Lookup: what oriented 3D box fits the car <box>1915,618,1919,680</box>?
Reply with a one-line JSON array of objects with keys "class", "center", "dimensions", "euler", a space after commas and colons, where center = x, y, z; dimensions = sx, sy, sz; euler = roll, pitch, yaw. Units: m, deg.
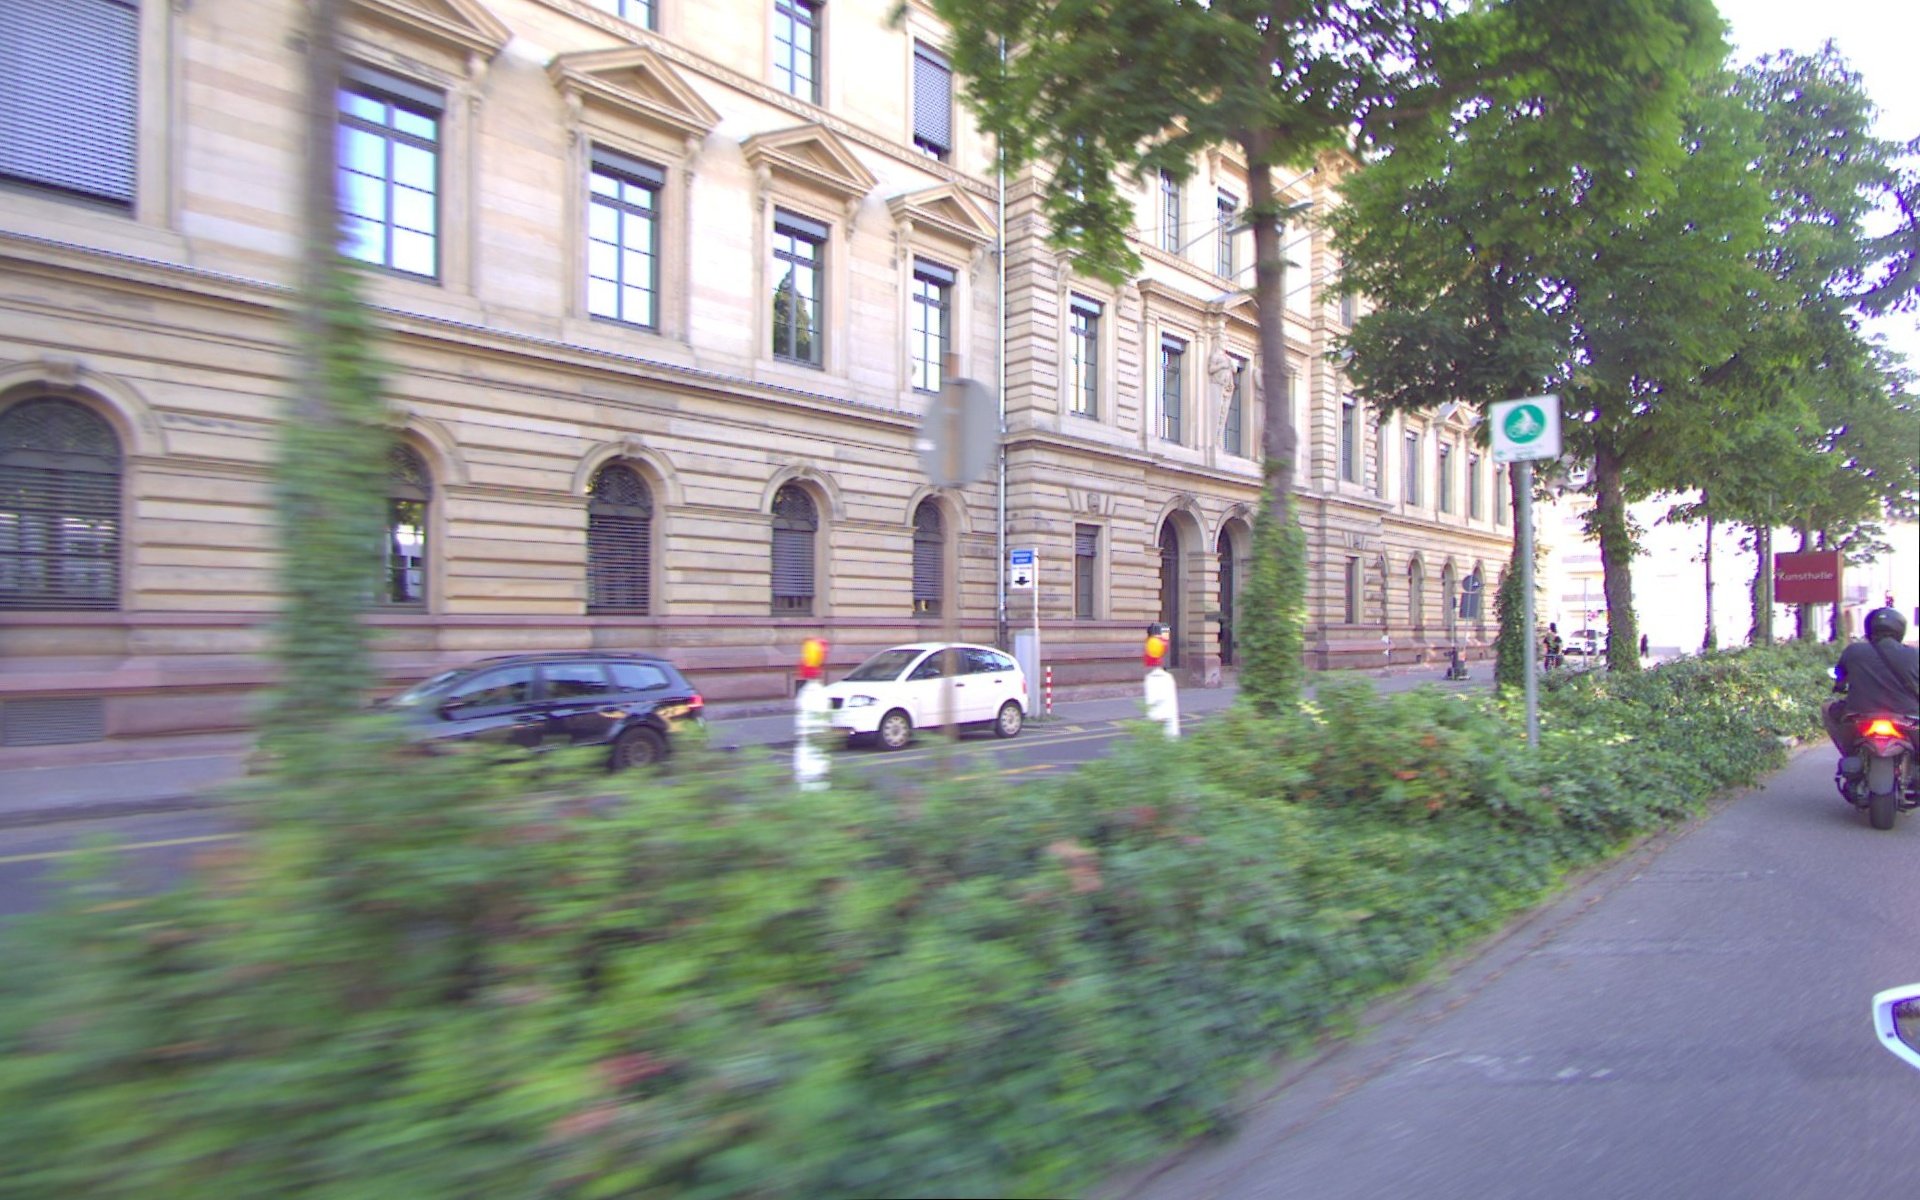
[{"class": "car", "center": [32.307, 1.570, 32.331], "dimensions": [4.999, 1.940, 2.048], "euler": [2, -3, -44]}]

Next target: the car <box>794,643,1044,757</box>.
[{"class": "car", "center": [-0.554, 1.465, 15.777], "dimensions": [3.820, 1.527, 1.652], "euler": [2, -2, -44]}]

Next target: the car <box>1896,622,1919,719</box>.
[{"class": "car", "center": [18.728, 1.257, 18.572], "dimensions": [1.973, 1.679, 4.707], "euler": [-2, -3, 44]}]

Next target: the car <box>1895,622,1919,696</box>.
[{"class": "car", "center": [25.146, 1.450, 25.329], "dimensions": [4.714, 1.772, 1.972], "euler": [2, -2, -43]}]

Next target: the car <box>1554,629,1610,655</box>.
[{"class": "car", "center": [42.606, 2.843, 68.796], "dimensions": [4.577, 1.708, 1.977], "euler": [1, -2, -40]}]

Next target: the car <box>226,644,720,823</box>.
[{"class": "car", "center": [-5.186, 1.298, 11.149], "dimensions": [4.611, 1.527, 1.862], "euler": [1, -4, -43]}]

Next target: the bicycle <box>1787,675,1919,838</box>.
[{"class": "bicycle", "center": [7.569, 1.205, 8.289], "dimensions": [2.437, 1.056, 0.862], "euler": [2, -1, -44]}]

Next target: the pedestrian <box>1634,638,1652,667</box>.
[{"class": "pedestrian", "center": [39.365, 3.007, 57.916], "dimensions": [0.811, 1.605, 0.626], "euler": [1, 1, -40]}]

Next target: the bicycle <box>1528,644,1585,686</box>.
[{"class": "bicycle", "center": [18.064, 1.943, 30.390], "dimensions": [2.160, 1.209, 0.873], "euler": [2, -5, -43]}]

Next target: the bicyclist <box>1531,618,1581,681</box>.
[{"class": "bicyclist", "center": [18.006, 1.500, 30.357], "dimensions": [1.277, 1.858, 0.873], "euler": [2, -5, -43]}]

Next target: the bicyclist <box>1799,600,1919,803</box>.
[{"class": "bicyclist", "center": [7.618, 0.791, 8.326], "dimensions": [1.222, 1.543, 0.859], "euler": [2, 0, -43]}]
